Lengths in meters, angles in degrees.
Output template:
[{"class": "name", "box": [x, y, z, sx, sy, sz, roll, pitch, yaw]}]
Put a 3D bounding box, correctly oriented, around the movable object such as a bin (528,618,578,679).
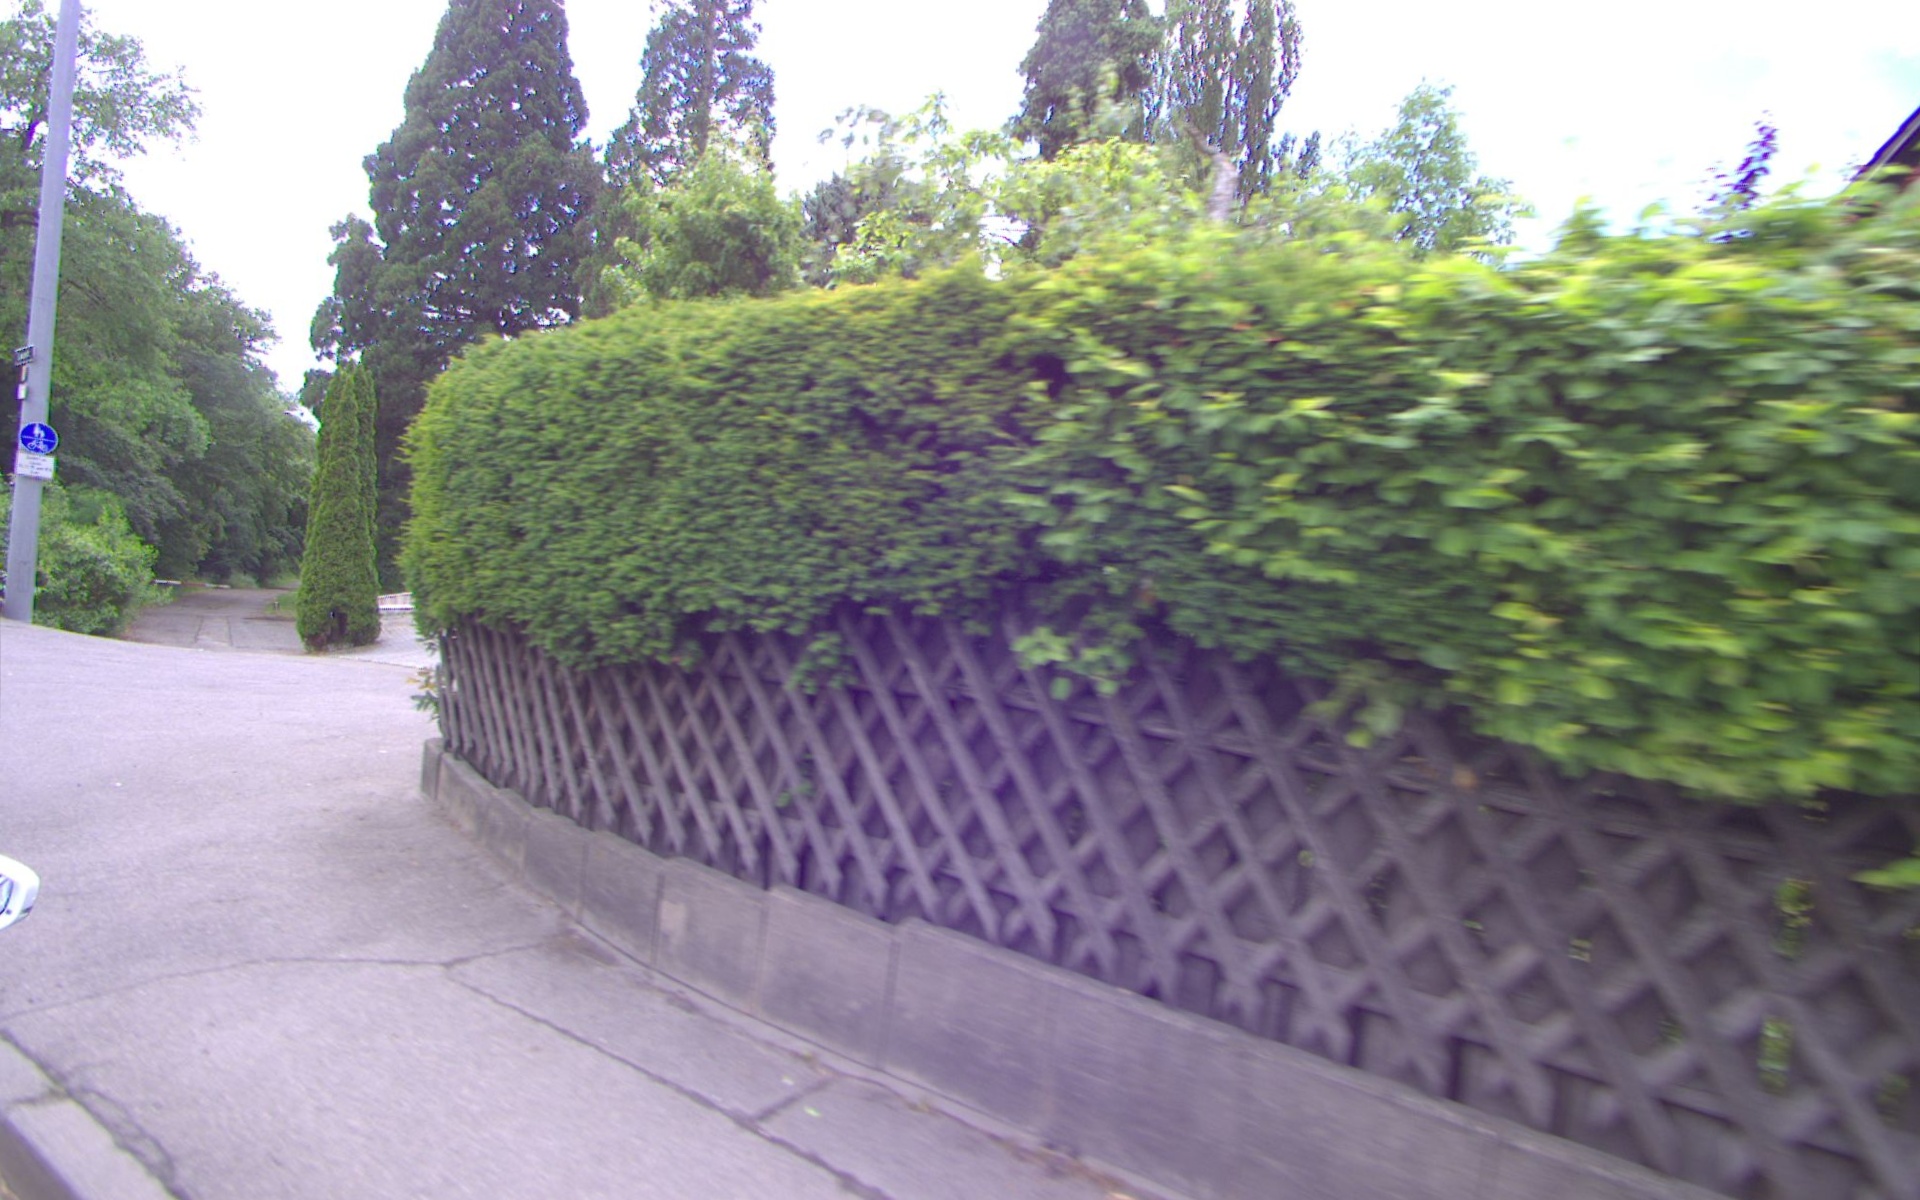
[{"class": "movable object such as a bin", "box": [-6.842, 0.817, 16.929, 0.499, 0.986, 0.541, 3, -2, 11]}]
